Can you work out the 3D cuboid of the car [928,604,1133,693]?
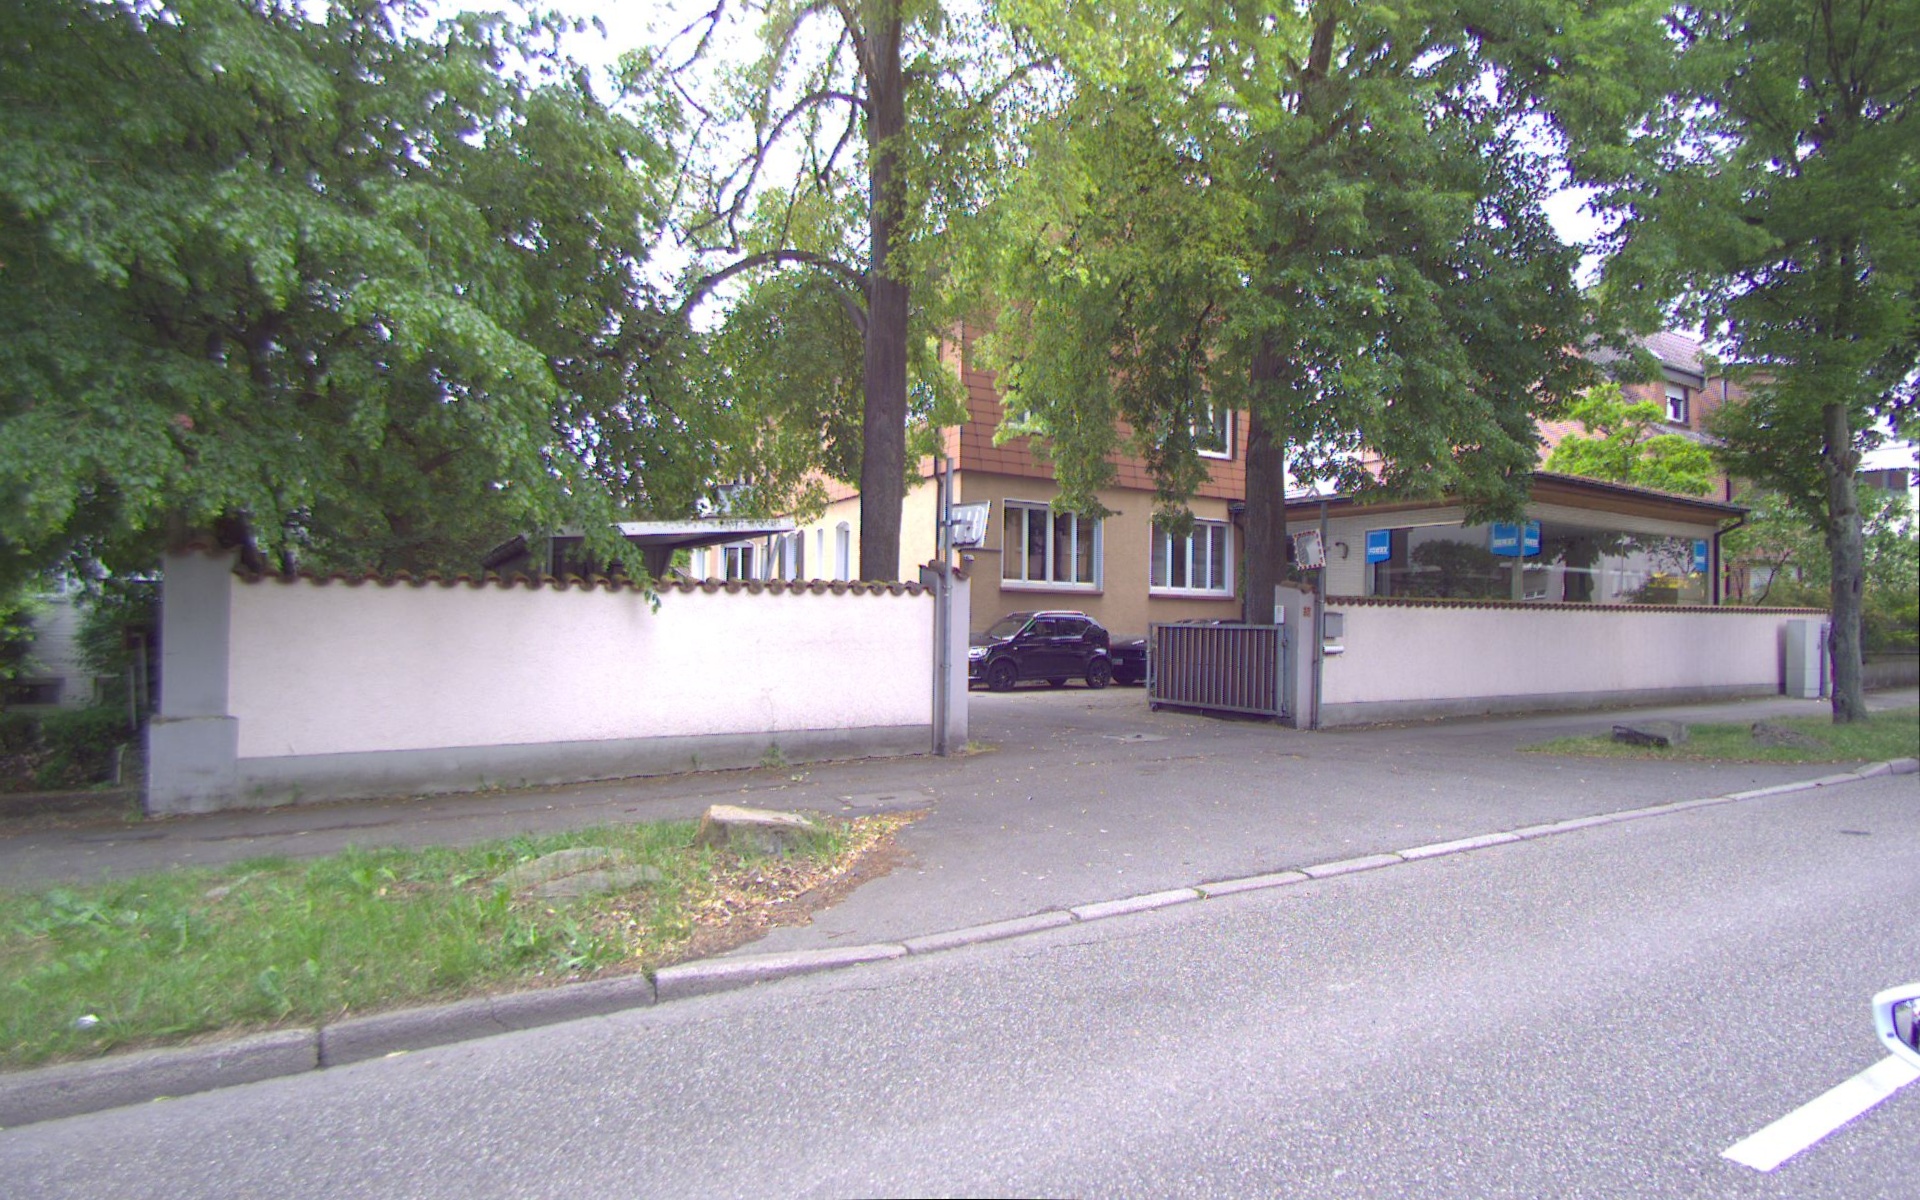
[{"bbox_3d":[1.500,0.979,20.859,3.955,1.662,1.771,2,0,-31],"label":"car"}]

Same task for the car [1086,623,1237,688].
[{"bbox_3d":[4.595,1.227,22.814,3.360,1.347,1.333,2,0,-32],"label":"car"}]
